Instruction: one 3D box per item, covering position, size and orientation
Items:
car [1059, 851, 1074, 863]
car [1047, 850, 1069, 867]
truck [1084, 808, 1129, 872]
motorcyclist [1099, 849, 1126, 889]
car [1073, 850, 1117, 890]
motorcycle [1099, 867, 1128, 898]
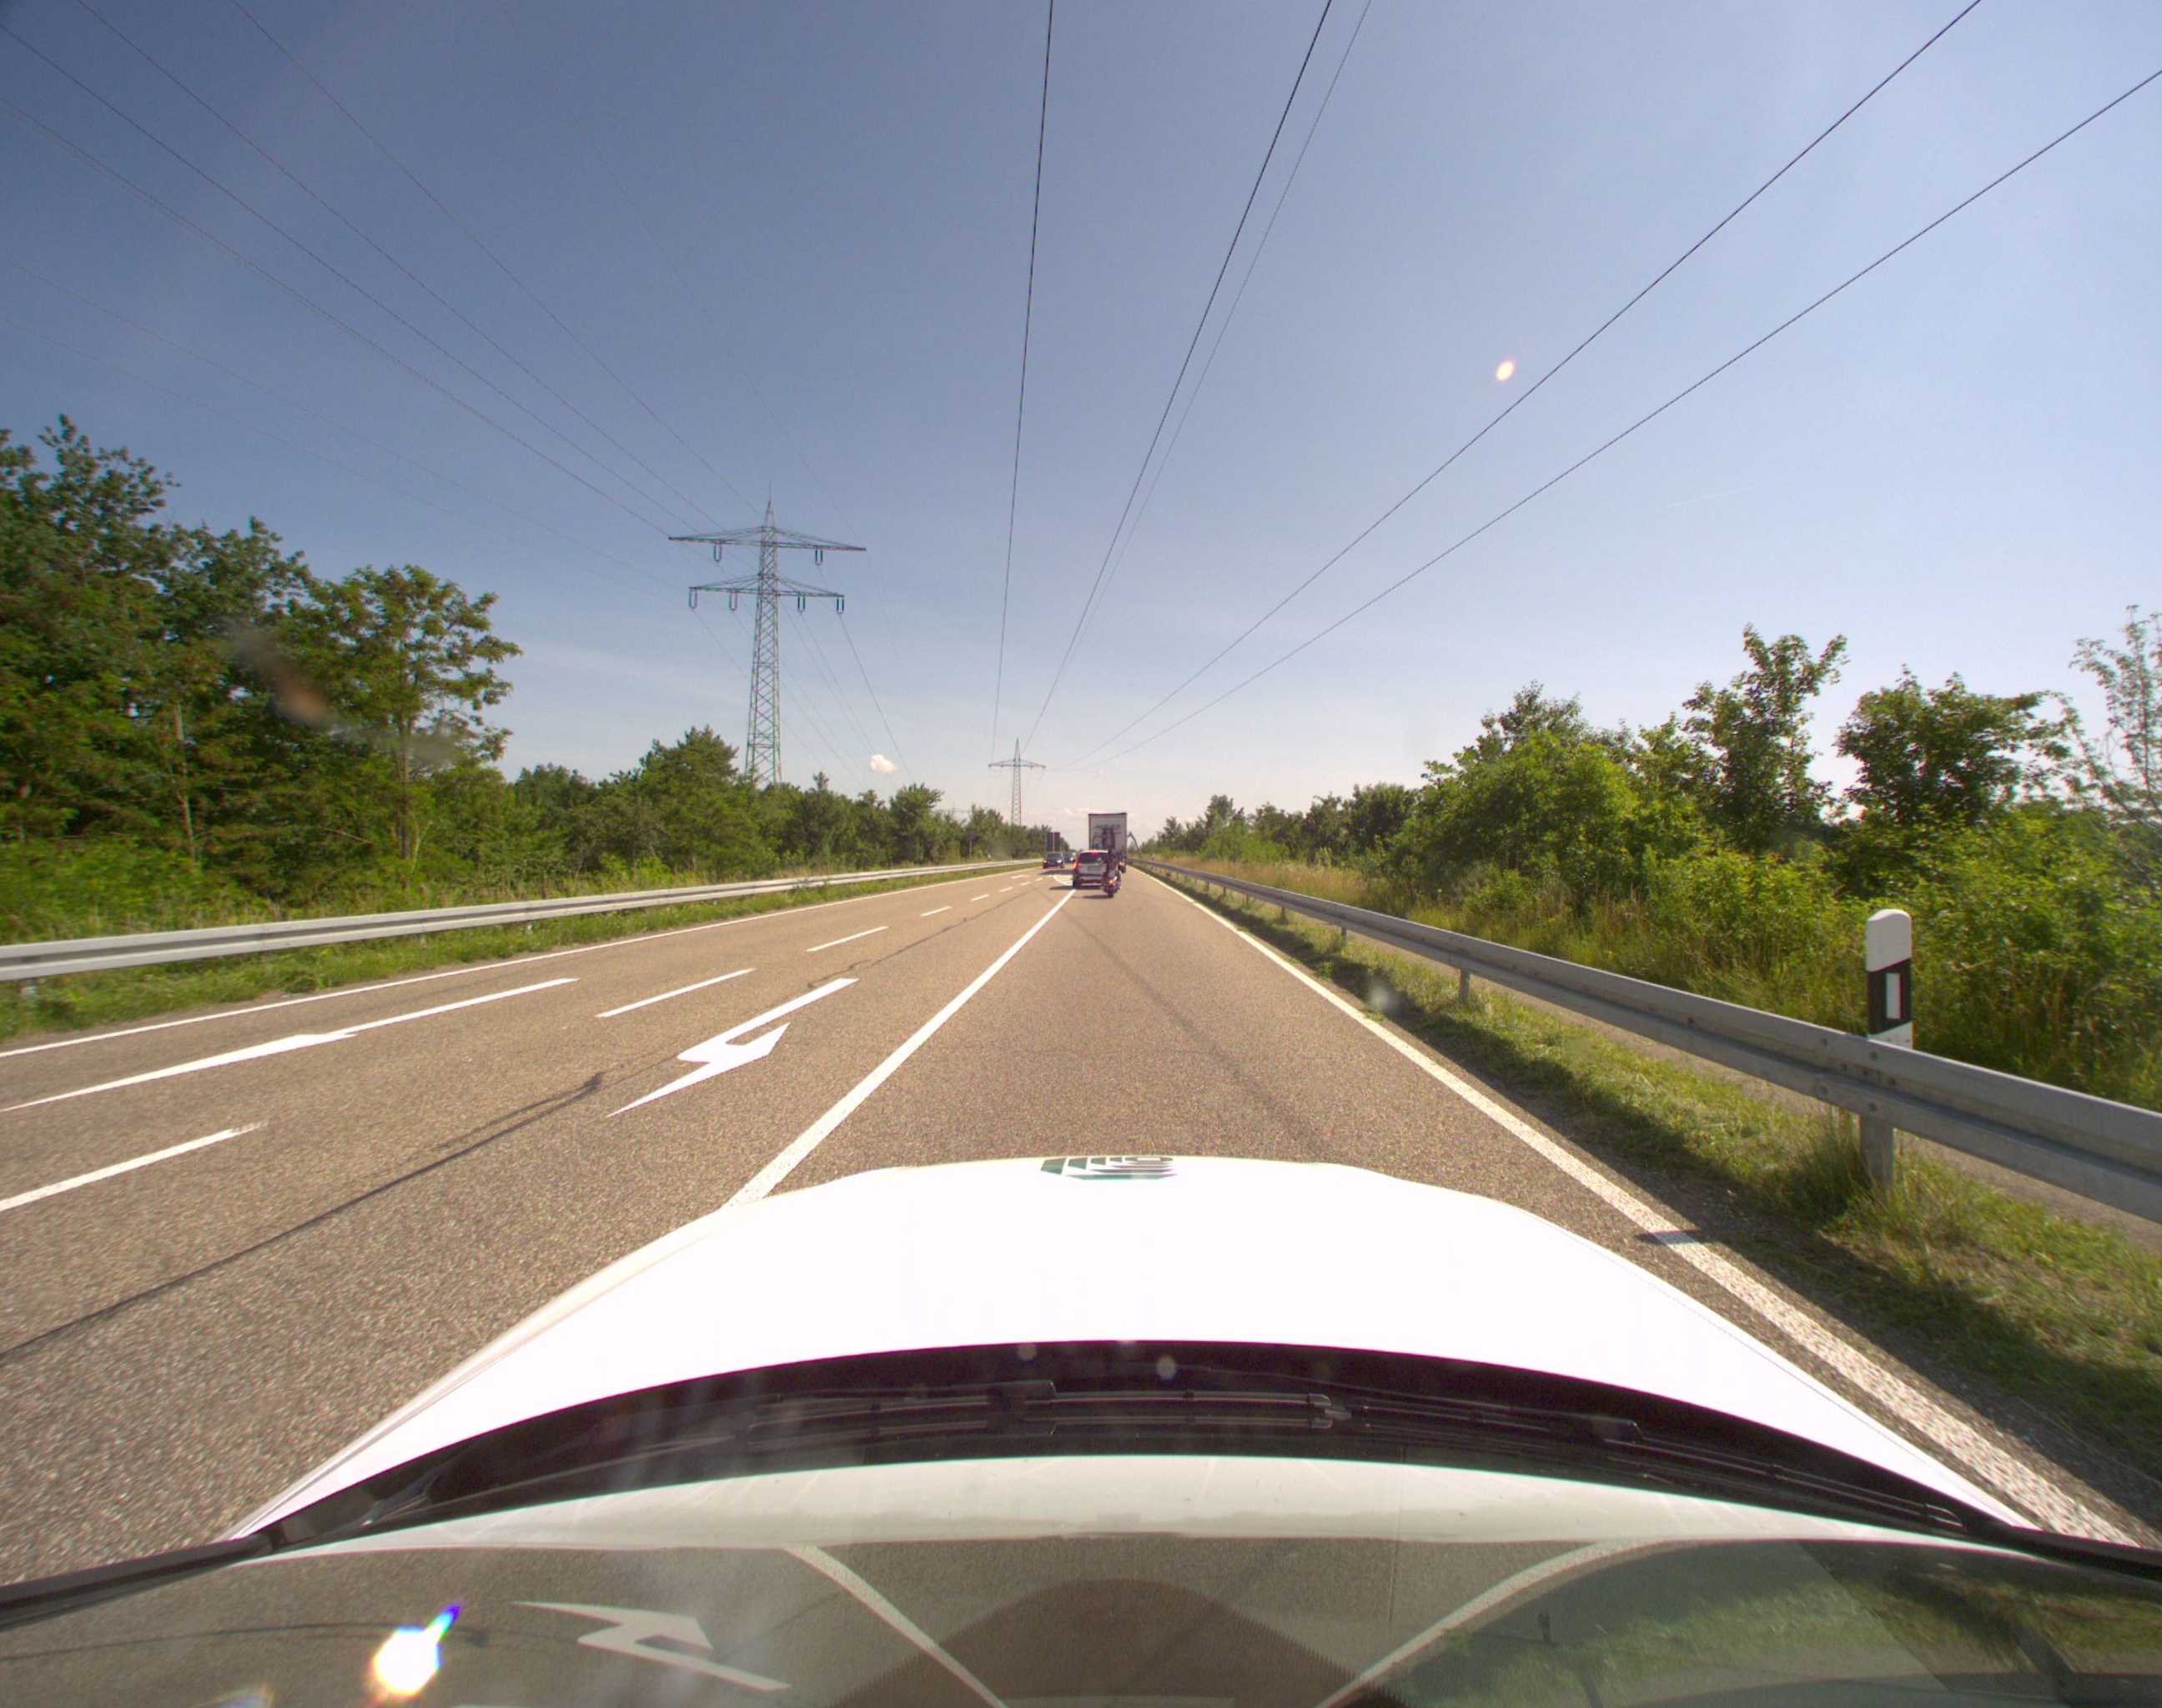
[{"bbox_3d":[-1.768,0.325,101.987,1.653,1.442,4.217,0,0,2],"label":"car"},{"bbox_3d":[-2.094,0.425,75.383,1.721,1.491,4.424,0,0,1],"label":"car"},{"bbox_3d":[2.054,-0.947,61.208,2.955,4.187,14.833,0,0,3],"label":"truck"},{"bbox_3d":[1.020,0.467,26.480,0.834,1.280,0.919,0,0,0],"label":"motorcyclist"},{"bbox_3d":[0.603,0.626,33.598,1.694,1.536,3.501,0,0,2],"label":"car"},{"bbox_3d":[1.031,0.910,26.397,0.856,0.915,2.227,0,0,0],"label":"motorcycle"}]
